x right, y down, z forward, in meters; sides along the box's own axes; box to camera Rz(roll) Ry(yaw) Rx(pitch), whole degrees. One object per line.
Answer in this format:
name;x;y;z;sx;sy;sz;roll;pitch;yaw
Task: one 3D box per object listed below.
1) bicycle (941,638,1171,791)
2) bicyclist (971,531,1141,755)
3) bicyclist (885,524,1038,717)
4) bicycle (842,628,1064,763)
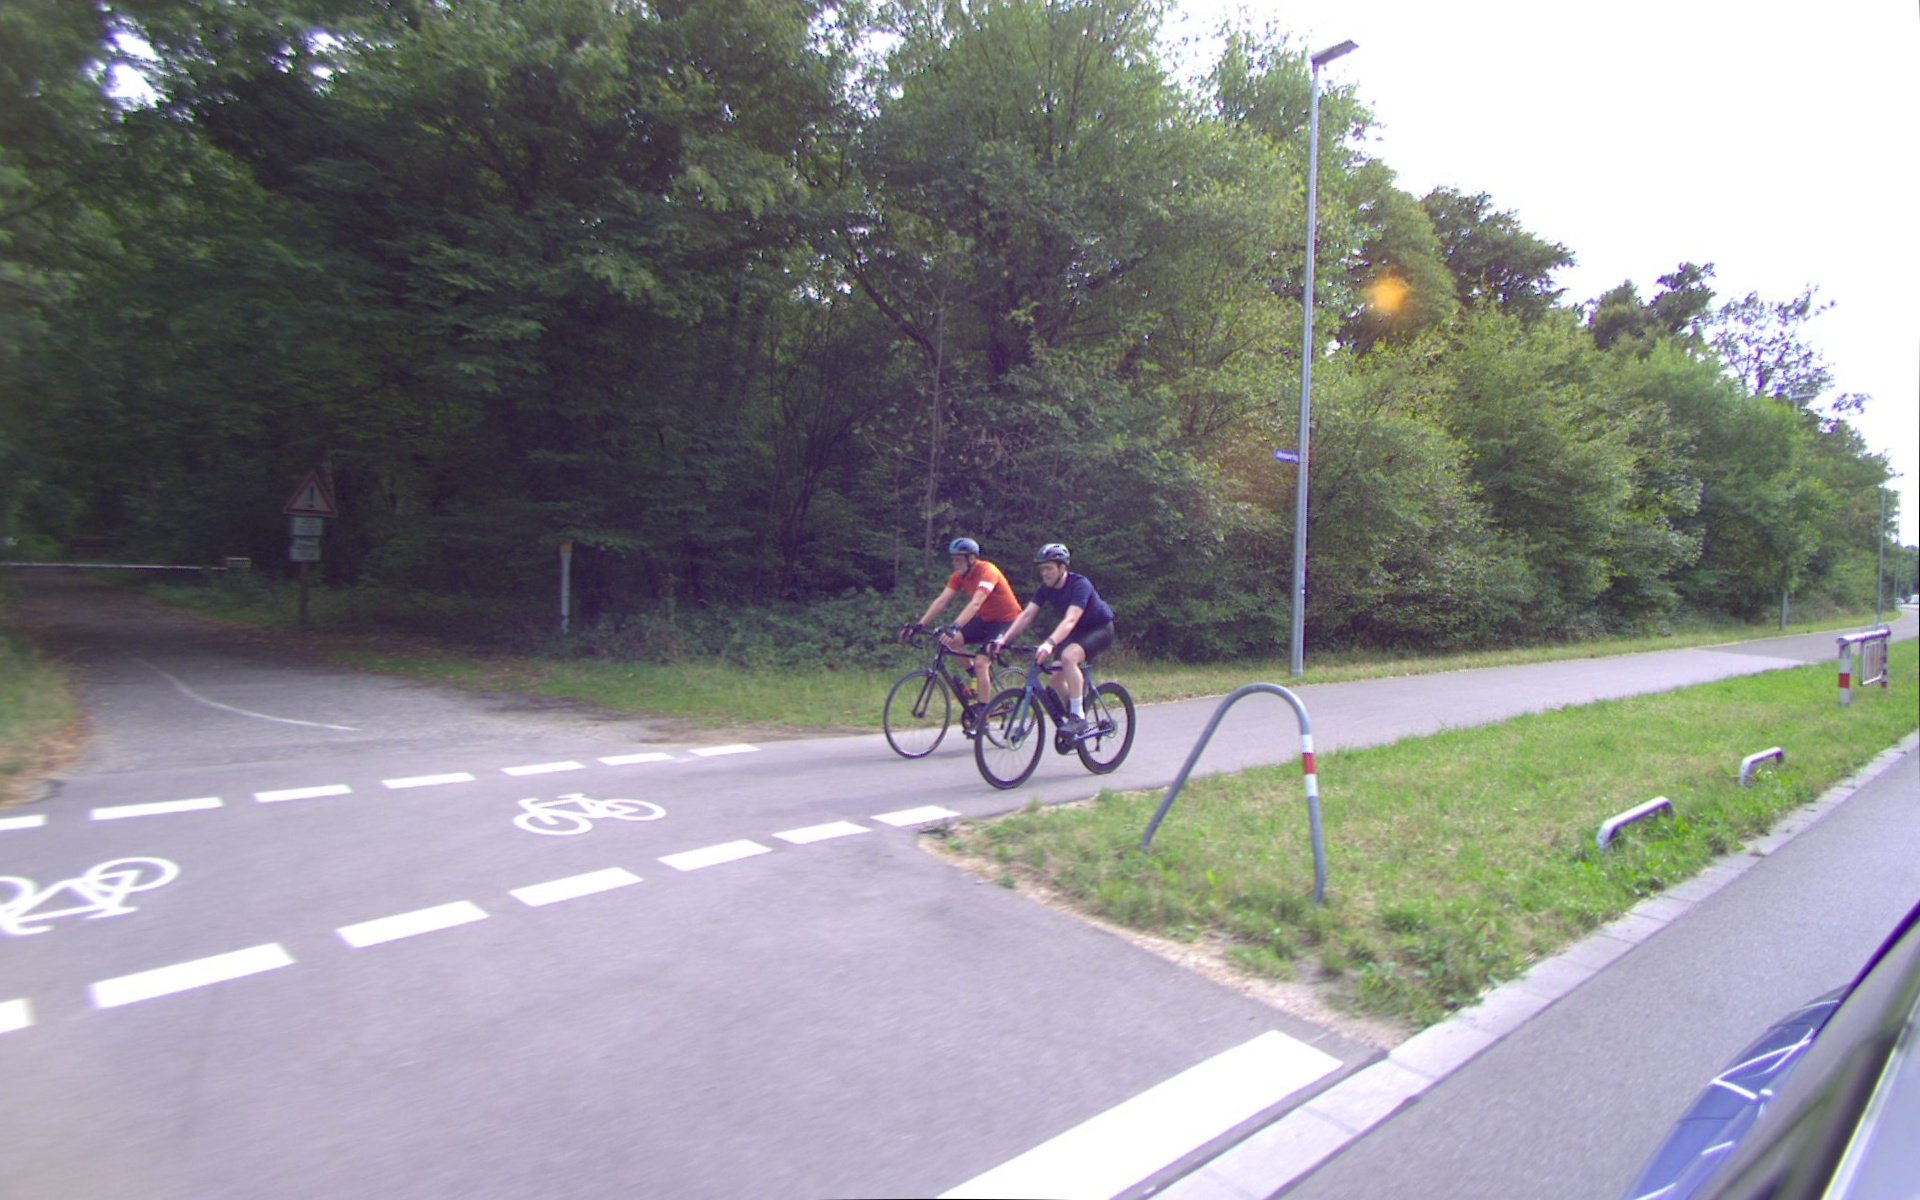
bicycle;0.714;0.742;7.092;1.724;0.923;0.566;2;0;-42
bicyclist;0.686;0.261;7.049;1.166;1.433;0.520;-1;2;-42
bicyclist;0.024;0.142;8.073;1.166;1.433;0.520;-1;0;-42
bicycle;-0.011;0.708;8.099;1.854;0.923;0.566;1;1;-42
